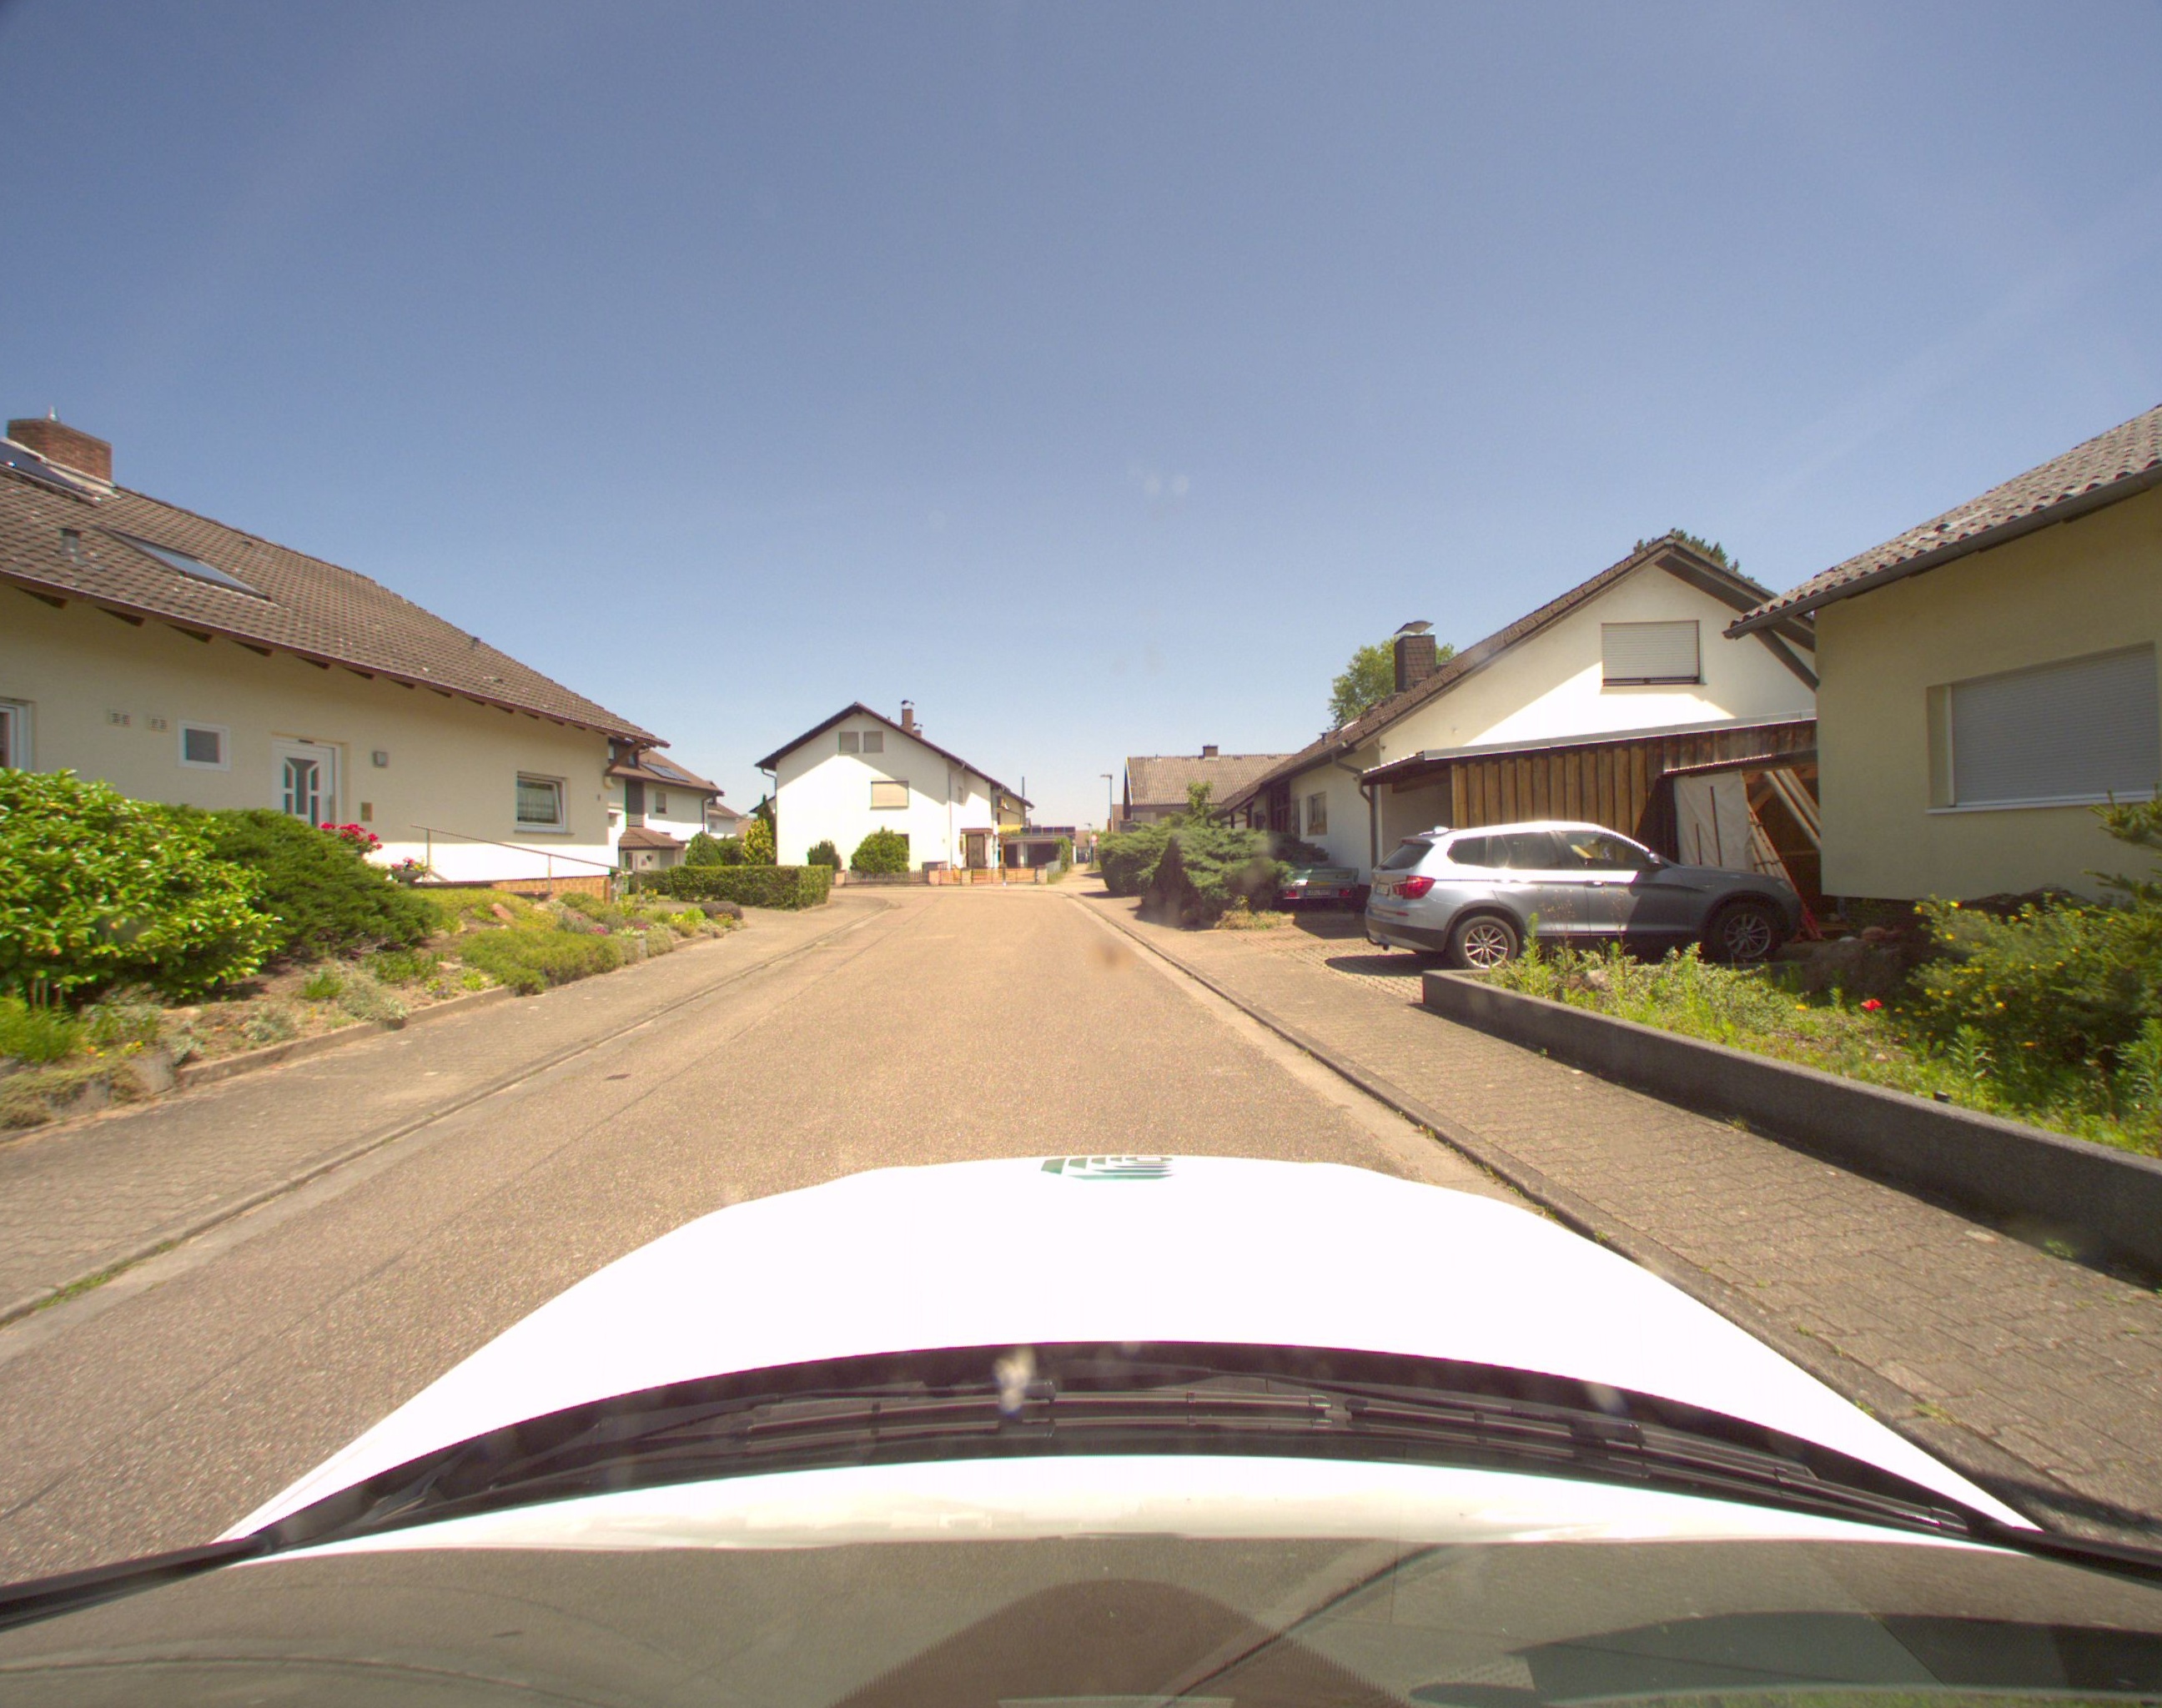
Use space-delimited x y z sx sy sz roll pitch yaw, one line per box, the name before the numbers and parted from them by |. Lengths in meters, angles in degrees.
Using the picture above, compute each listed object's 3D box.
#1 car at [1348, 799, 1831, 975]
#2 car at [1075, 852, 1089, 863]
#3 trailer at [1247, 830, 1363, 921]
car | 5.801 0.373 9.762 4.607 1.702 1.711 -3 0 4
car | 0.244 0.547 135.501 2.185 1.701 3.809 -2 0 2
trailer | 4.655 0.399 17.362 1.581 1.672 3.298 -3 0 2
